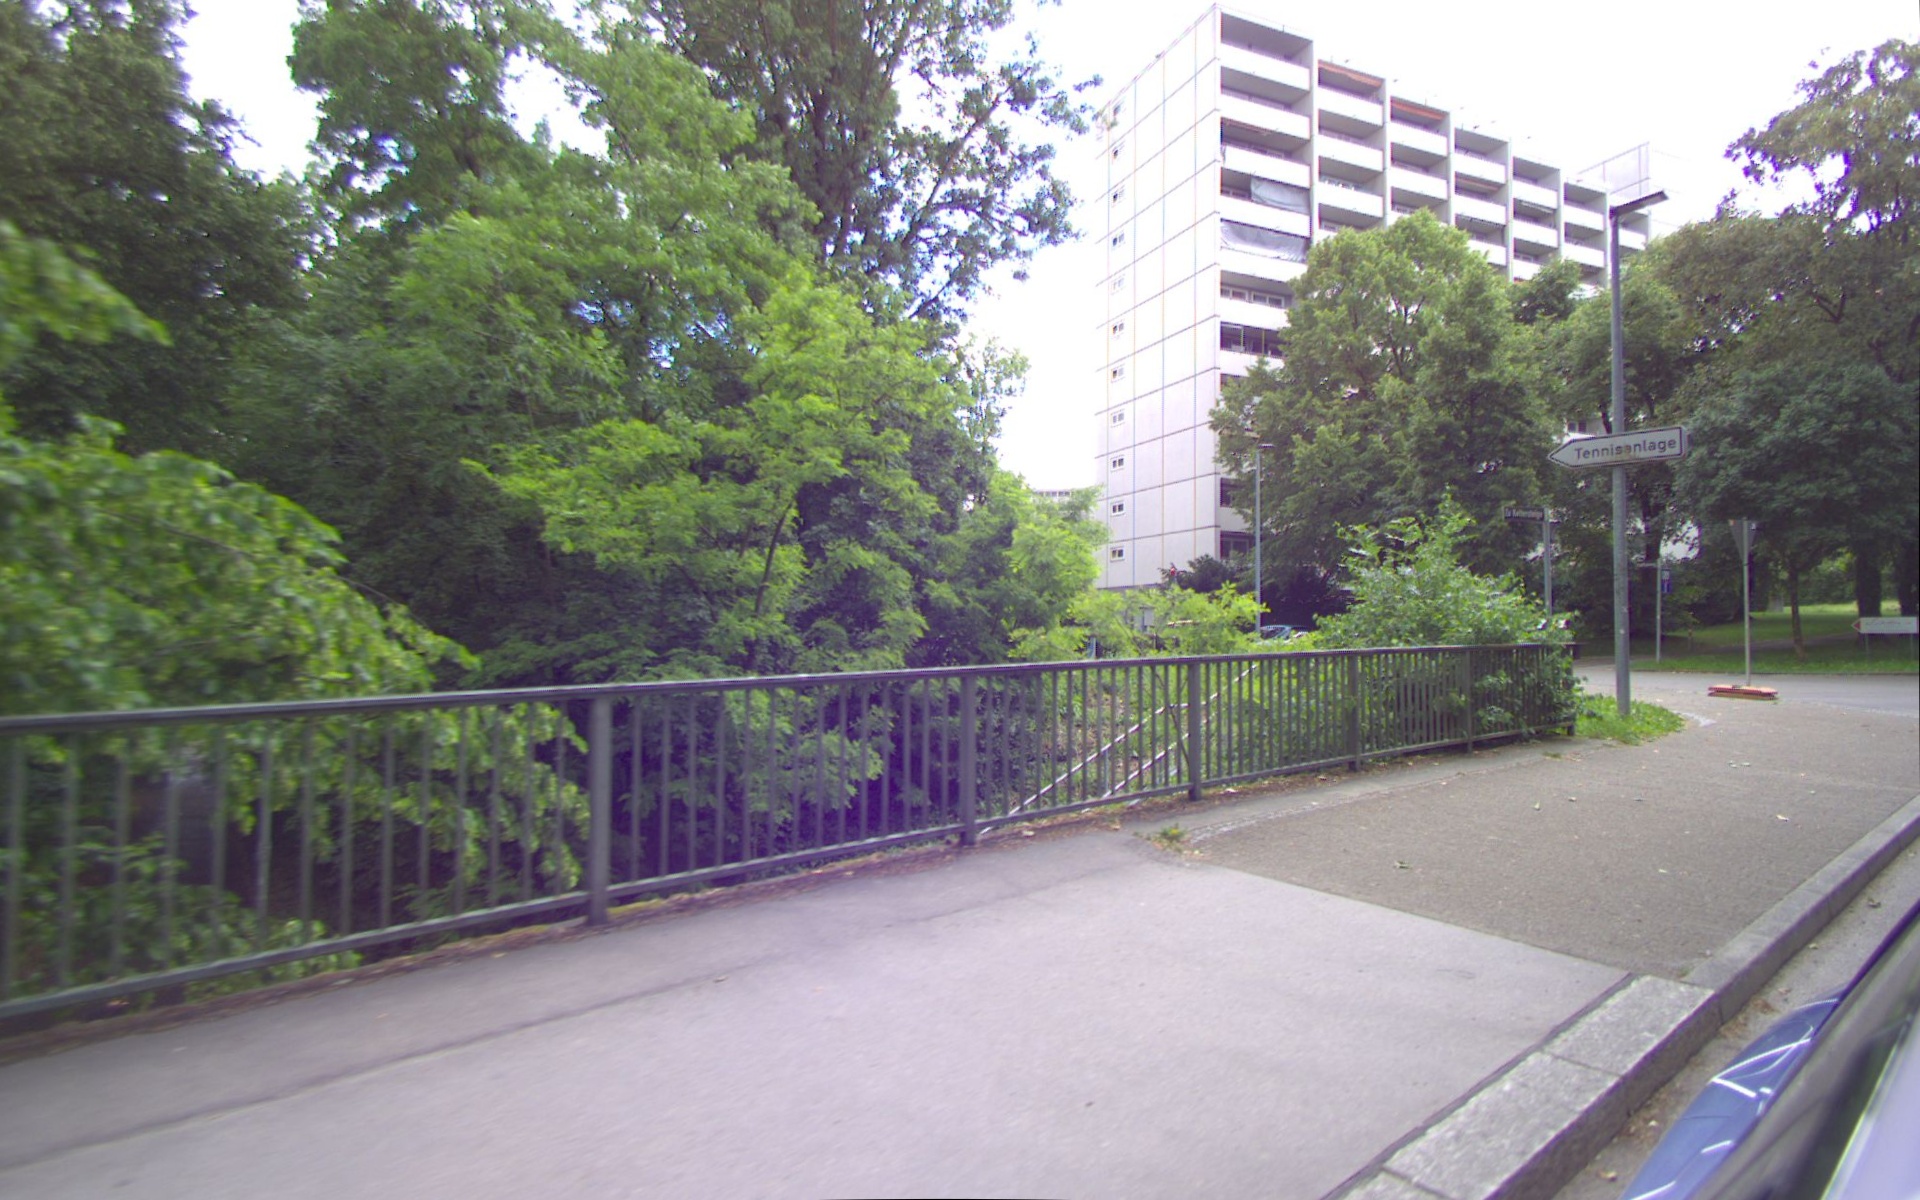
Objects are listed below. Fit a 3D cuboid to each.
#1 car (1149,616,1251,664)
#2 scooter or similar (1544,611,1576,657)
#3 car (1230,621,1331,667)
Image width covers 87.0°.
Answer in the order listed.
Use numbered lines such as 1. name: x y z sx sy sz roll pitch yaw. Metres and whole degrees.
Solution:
1. car: 9.943 1.641 42.271 1.794 1.872 4.417 0 -2 -24
2. scooter or similar: 17.376 0.975 29.303 1.086 1.303 0.284 0 -2 -31
3. car: 11.934 1.613 37.886 1.794 1.590 3.534 0 -2 -20
